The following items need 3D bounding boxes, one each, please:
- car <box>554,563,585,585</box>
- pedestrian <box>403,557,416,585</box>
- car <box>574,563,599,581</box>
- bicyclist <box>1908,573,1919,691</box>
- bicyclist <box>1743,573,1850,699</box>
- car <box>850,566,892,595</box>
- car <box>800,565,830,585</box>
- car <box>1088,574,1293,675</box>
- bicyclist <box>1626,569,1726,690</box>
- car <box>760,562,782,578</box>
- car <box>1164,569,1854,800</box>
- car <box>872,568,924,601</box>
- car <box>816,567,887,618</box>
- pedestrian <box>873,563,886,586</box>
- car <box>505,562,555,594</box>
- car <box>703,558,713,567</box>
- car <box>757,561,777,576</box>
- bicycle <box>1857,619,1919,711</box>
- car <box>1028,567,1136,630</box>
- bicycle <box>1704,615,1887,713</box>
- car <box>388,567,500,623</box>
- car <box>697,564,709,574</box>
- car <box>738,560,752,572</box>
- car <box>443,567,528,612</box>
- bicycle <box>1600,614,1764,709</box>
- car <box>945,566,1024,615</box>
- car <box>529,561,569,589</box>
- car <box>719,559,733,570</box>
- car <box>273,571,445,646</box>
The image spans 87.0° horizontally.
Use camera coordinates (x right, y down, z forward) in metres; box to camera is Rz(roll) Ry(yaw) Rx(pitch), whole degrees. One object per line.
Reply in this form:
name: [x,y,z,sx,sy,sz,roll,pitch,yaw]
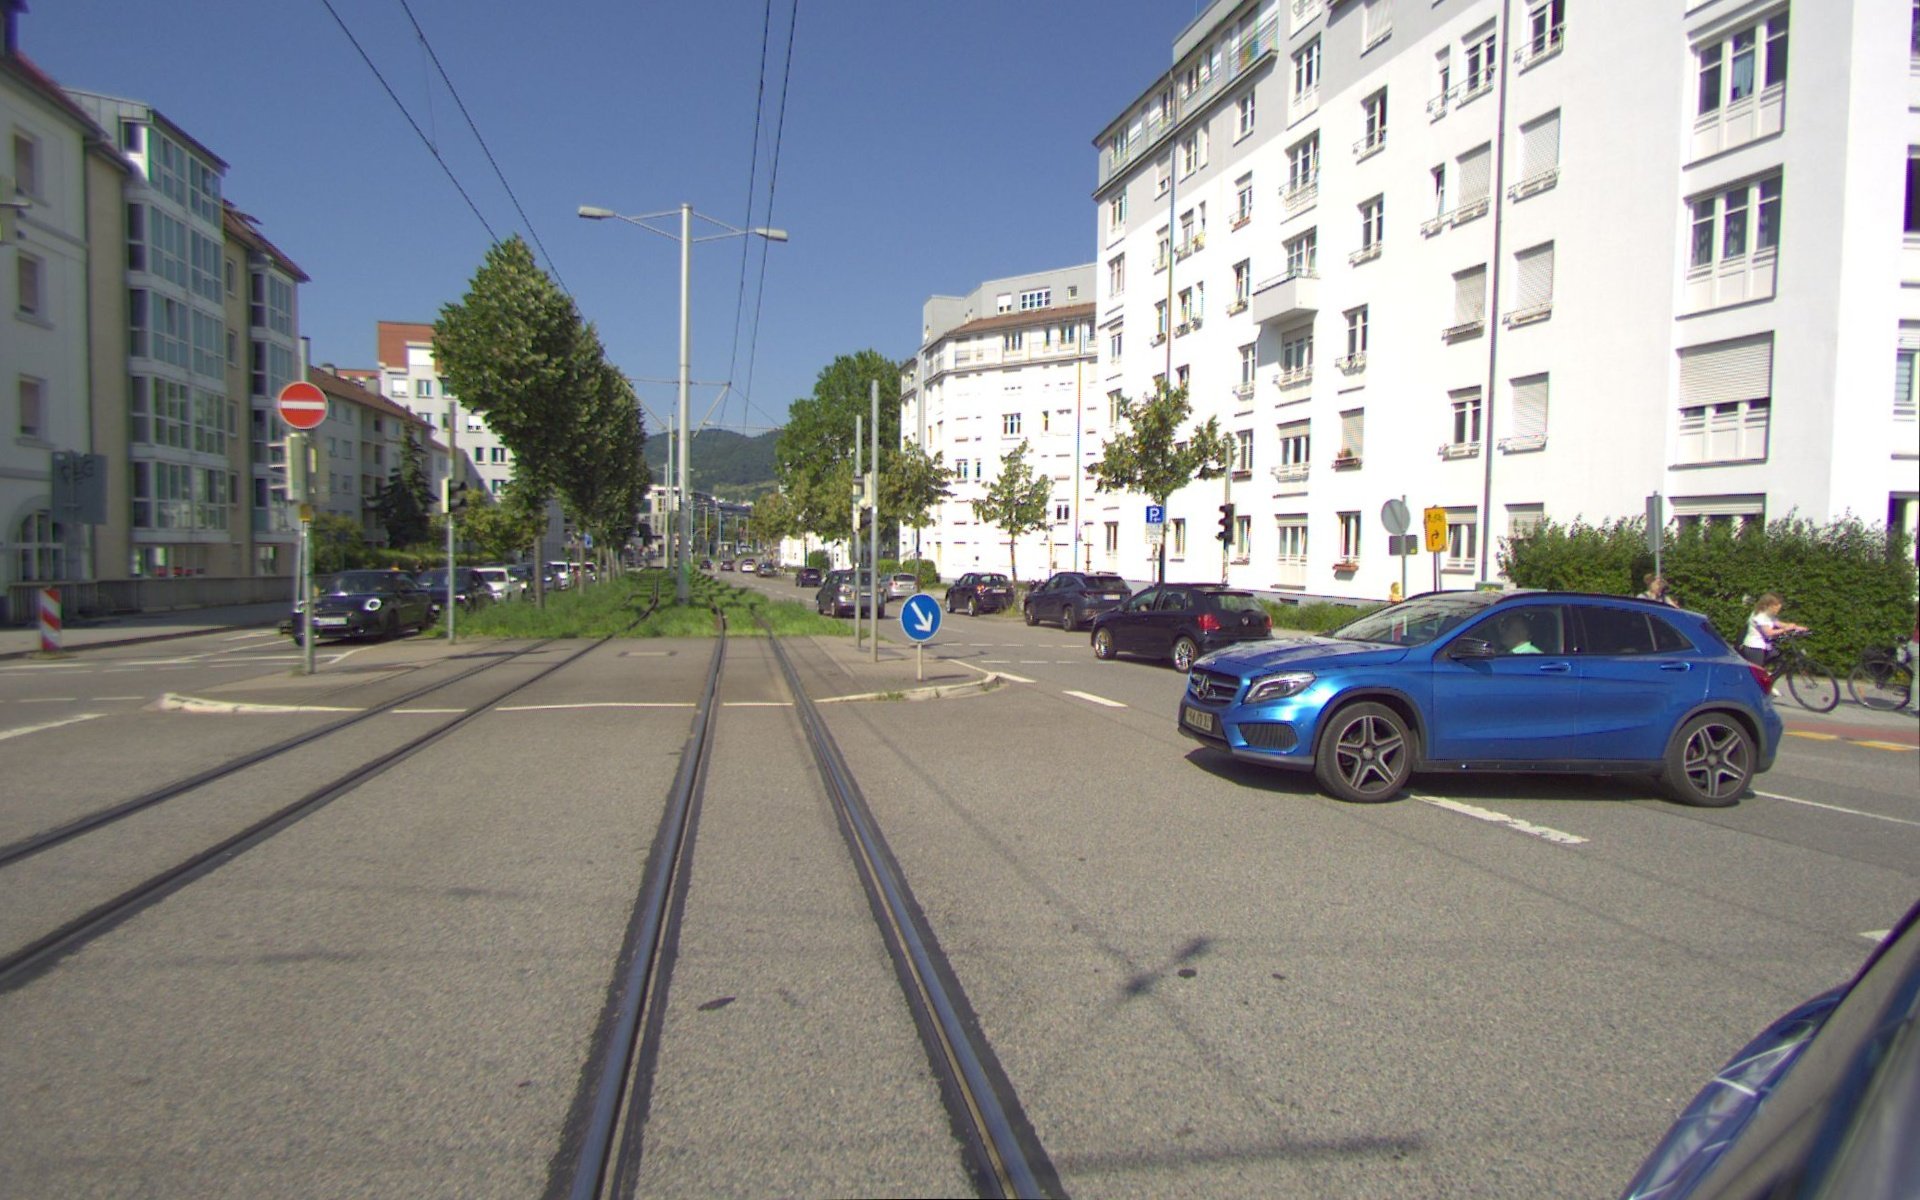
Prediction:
car: [-25.315,-1.713,65.737,1.731,1.371,4.009,-1,2,-19]
pedestrian: [-35.309,-1.892,64.954,0.586,1.785,0.754,0,2,-18]
car: [-29.505,-2.254,80.008,1.731,1.371,4.009,-1,2,-19]
bicyclist: [12.594,0.417,12.645,0.585,1.496,0.919,0,2,-27]
bicyclist: [11.210,0.453,13.582,0.611,1.598,0.919,-1,2,-26]
car: [-5.049,-1.127,56.998,1.703,1.502,3.749,0,2,-16]
car: [-10.986,-1.903,76.413,1.703,1.502,3.749,0,2,-16]
car: [3.919,0.356,17.809,1.561,1.511,3.670,1,2,-25]
bicyclist: [9.977,0.379,14.126,0.611,1.609,0.920,0,3,-22]
car: [-18.518,-2.947,99.072,1.703,1.502,3.749,0,2,-16]
car: [4.017,0.592,7.755,4.458,1.499,1.679,2,1,-7]
car: [-3.046,-0.781,49.189,1.703,1.502,3.749,0,2,-16]
car: [-3.677,-0.295,33.783,1.661,1.575,3.665,1,2,-17]
pedestrian: [-5.941,-1.868,75.030,0.841,1.686,0.912,1,1,-11]
car: [-19.727,-1.052,46.567,1.731,1.371,4.010,-1,2,-17]
car: [-47.677,-7.172,191.491,1.761,1.703,3.749,0,2,-14]
car: [-20.395,-3.357,106.792,1.703,1.502,3.749,0,2,-16]
bicycle: [12.564,0.856,12.717,0.592,1.113,1.818,0,2,-27]
car: [3.389,-0.102,28.784,1.703,1.657,3.749,0,2,-16]
bicycle: [11.190,0.817,13.634,0.615,1.113,1.790,-1,3,-26]
car: [-13.909,-0.200,27.508,1.731,1.371,4.009,-1,2,-13]
car: [-38.824,-4.738,152.699,1.761,1.502,3.749,0,2,-14]
car: [-28.378,-4.467,133.369,1.704,1.502,3.749,0,2,-14]
car: [-15.570,-0.394,33.387,1.731,1.371,4.009,-1,2,-13]
bicycle: [9.992,0.809,14.089,0.605,1.112,1.791,0,3,-22]
car: [0.838,-0.395,36.998,1.703,1.657,3.749,0,2,-18]
car: [-21.668,-1.347,53.467,1.731,1.371,4.009,-1,2,-19]
car: [-32.920,-4.959,142.341,1.761,1.502,3.749,0,2,-14]
car: [-12.074,0.093,20.649,1.731,1.337,4.008,-1,2,-11]
